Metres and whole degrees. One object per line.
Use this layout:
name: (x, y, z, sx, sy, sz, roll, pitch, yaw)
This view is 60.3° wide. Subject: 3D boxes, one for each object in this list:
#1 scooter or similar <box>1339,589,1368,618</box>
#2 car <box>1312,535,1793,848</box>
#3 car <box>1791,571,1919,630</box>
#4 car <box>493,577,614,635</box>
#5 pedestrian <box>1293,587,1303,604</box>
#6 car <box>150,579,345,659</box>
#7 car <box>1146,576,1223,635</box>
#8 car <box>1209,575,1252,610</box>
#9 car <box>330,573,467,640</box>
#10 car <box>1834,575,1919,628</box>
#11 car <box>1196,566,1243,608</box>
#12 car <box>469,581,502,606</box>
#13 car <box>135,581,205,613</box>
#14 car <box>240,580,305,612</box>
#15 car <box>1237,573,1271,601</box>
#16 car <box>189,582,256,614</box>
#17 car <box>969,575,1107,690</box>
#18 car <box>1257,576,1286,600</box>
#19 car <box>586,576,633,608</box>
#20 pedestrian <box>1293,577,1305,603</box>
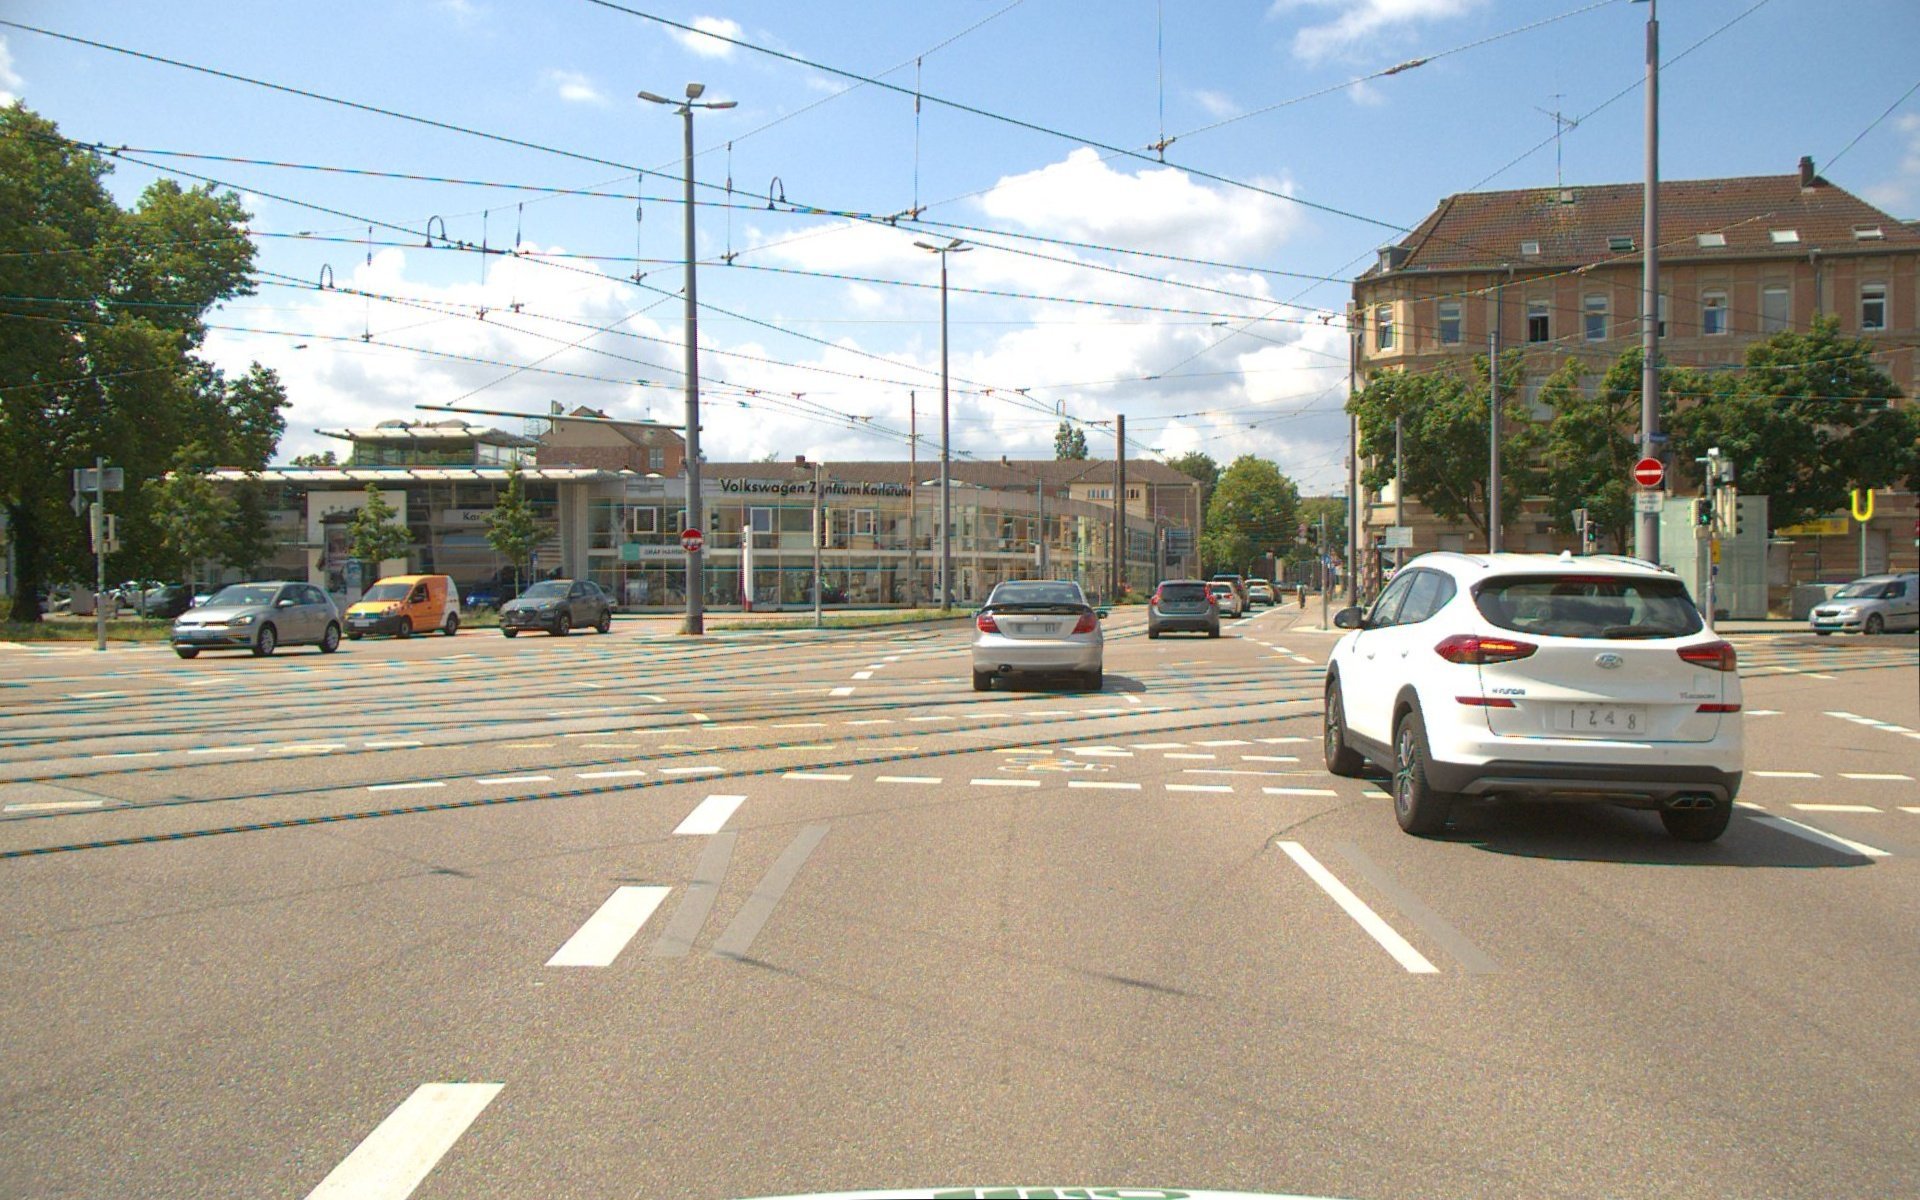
scooter or similar: (16.527, 0.167, 69.457, 1.507, 1.194, 0.377, 1, -1, -40)
car: (3.610, 0.461, 10.949, 1.842, 1.670, 4.234, 0, 1, 3)
car: (24.002, -0.013, 43.406, 4.069, 1.499, 1.712, 0, 0, -23)
car: (-11.381, 0.132, 46.574, 1.681, 1.558, 4.125, 0, 1, 12)
pedestrian: (19.201, -0.263, 93.901, 0.513, 0.922, 1.562, 1, -1, 12)
car: (-13.918, 0.329, 32.588, 1.618, 1.459, 4.275, 0, 1, 7)
car: (5.688, 0.116, 42.299, 1.841, 1.444, 3.960, 0, 1, 6)
car: (13.291, -0.404, 81.138, 1.841, 1.670, 3.960, 0, 1, 13)
car: (-16.325, 0.152, 48.326, 1.681, 1.832, 4.745, -1, 0, 10)
car: (27.840, 0.024, 48.554, 4.069, 1.499, 1.712, 0, 0, -23)
car: (10.699, -0.532, 67.969, 1.841, 1.670, 3.961, 0, 1, 10)
car: (-24.988, -0.324, 87.166, 1.621, 1.272, 3.982, 1, -1, -16)
car: (-41.732, -0.118, 87.514, 1.955, 1.601, 4.173, 1, -1, -5)
car: (-36.436, -0.178, 87.725, 1.955, 1.601, 4.173, 1, -1, -5)
car: (18.118, -0.796, 101.855, 1.841, 1.670, 3.960, 0, 1, 13)
car: (-39.133, -0.078, 87.808, 1.955, 1.601, 4.173, 1, -1, -5)
car: (1.082, 0.377, 22.451, 1.705, 1.416, 4.181, 0, 1, 3)
car: (22.048, -0.861, 117.020, 1.841, 1.670, 3.960, 0, 1, 13)
car: (-18.807, -0.400, 88.927, 1.955, 1.601, 3.995, 1, -1, -5)
pedestrian: (19.257, -0.555, 93.924, 0.677, 1.483, 0.680, 1, -1, 13)
